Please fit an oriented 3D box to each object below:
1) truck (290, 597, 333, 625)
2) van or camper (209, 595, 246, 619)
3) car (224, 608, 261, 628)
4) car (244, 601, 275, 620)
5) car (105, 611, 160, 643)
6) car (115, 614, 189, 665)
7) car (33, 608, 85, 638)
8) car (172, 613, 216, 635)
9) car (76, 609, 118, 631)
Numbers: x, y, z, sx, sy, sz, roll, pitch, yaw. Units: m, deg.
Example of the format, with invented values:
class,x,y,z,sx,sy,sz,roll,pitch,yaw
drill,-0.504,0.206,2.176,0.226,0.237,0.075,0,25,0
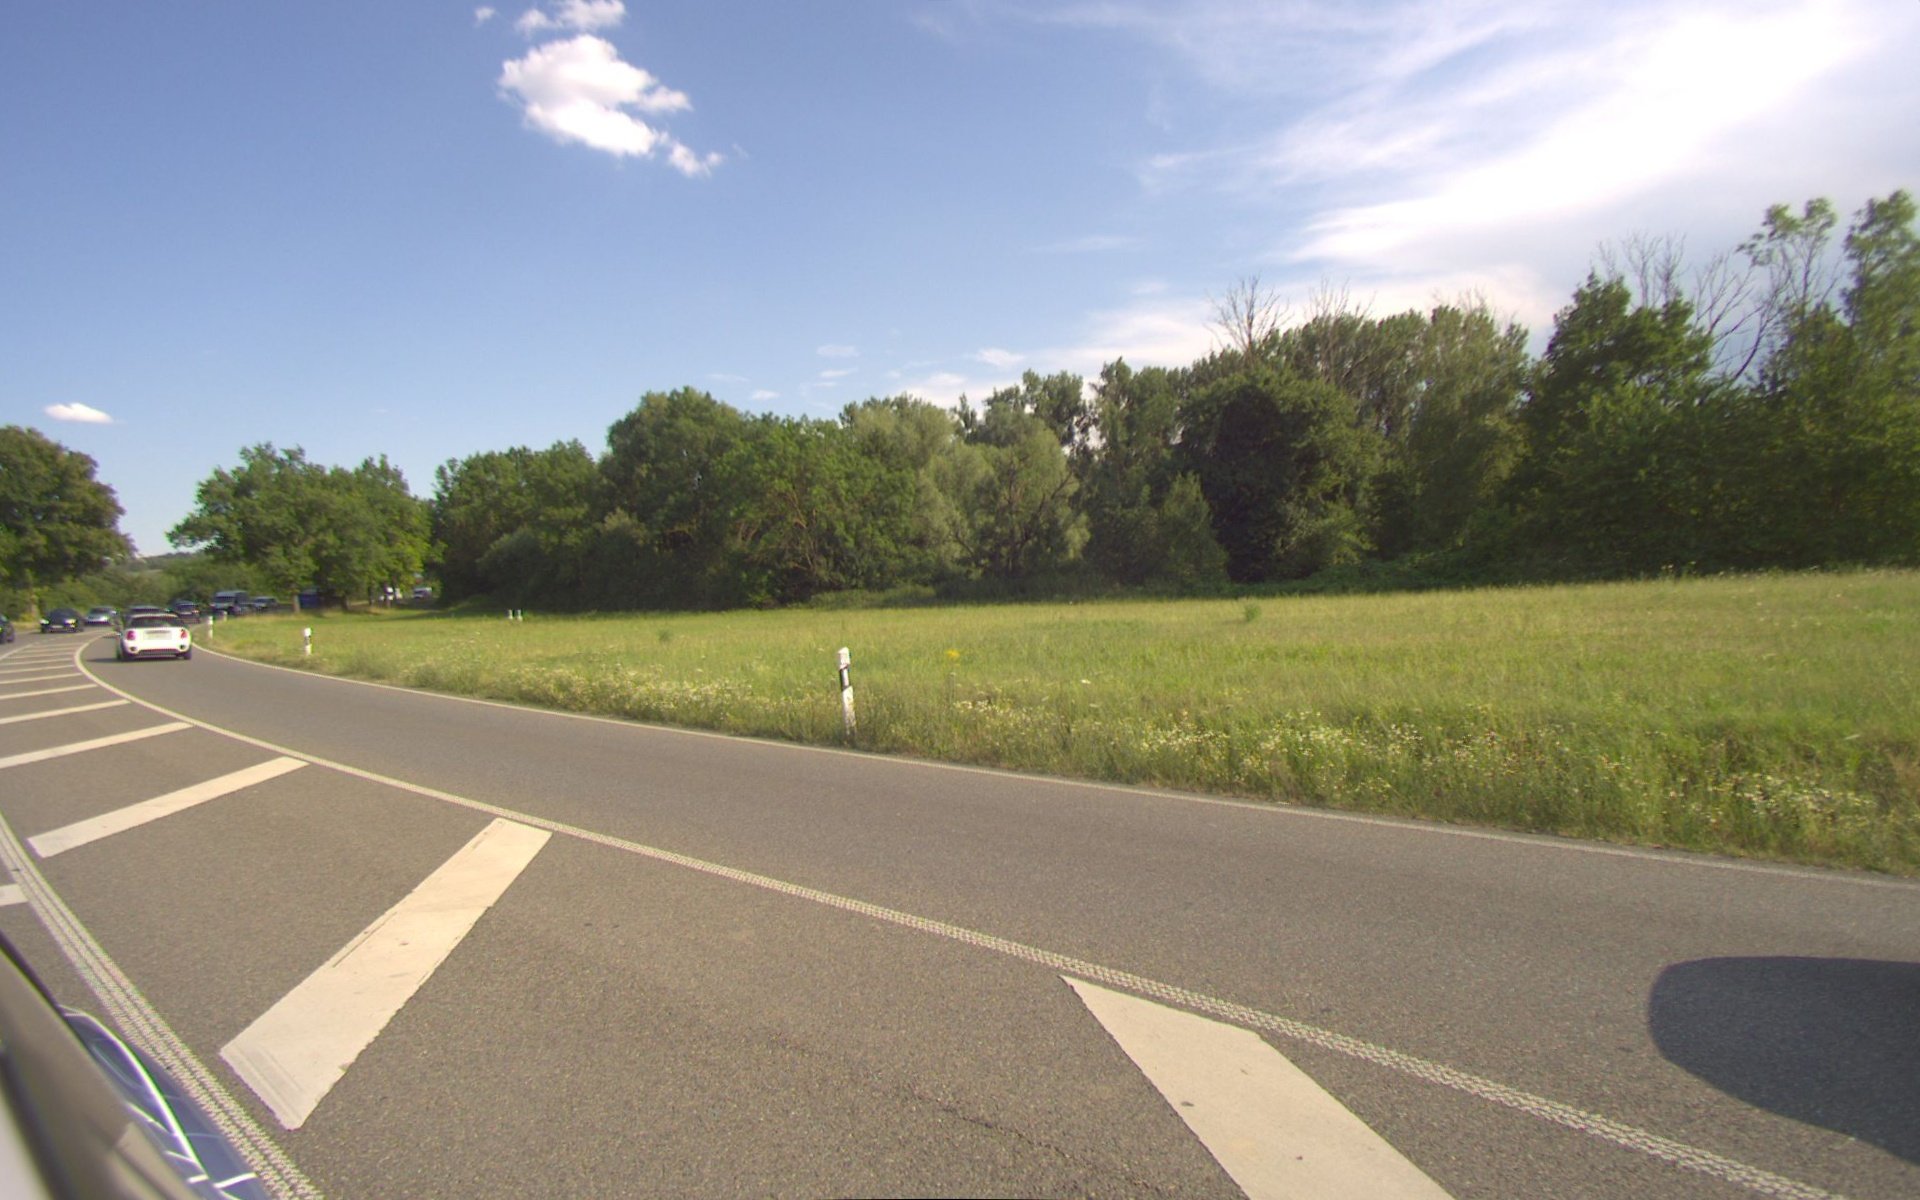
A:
class,x,y,z,sx,sy,sz,roll,pitch,yaw
truck,-82.602,1.353,128.957,2.876,3.236,6.703,-3,1,-19
van or camper,-81.688,0.803,112.923,2.000,2.494,5.094,-3,2,-21
car,-74.026,1.826,104.478,1.966,1.871,4.013,-4,2,-19
car,-84.352,1.247,121.898,1.966,2.028,4.013,-3,1,-19
car,-43.663,1.400,53.479,1.901,1.598,4.084,0,-1,-34
car,-25.265,1.188,31.592,1.724,1.478,3.485,0,-1,-40
car,-54.998,1.397,61.810,1.646,1.741,3.679,-1,0,-30
car,-62.223,1.909,82.243,1.966,1.563,4.013,-4,2,-25
car,-65.184,1.503,76.466,1.608,1.570,3.428,1,0,-27
